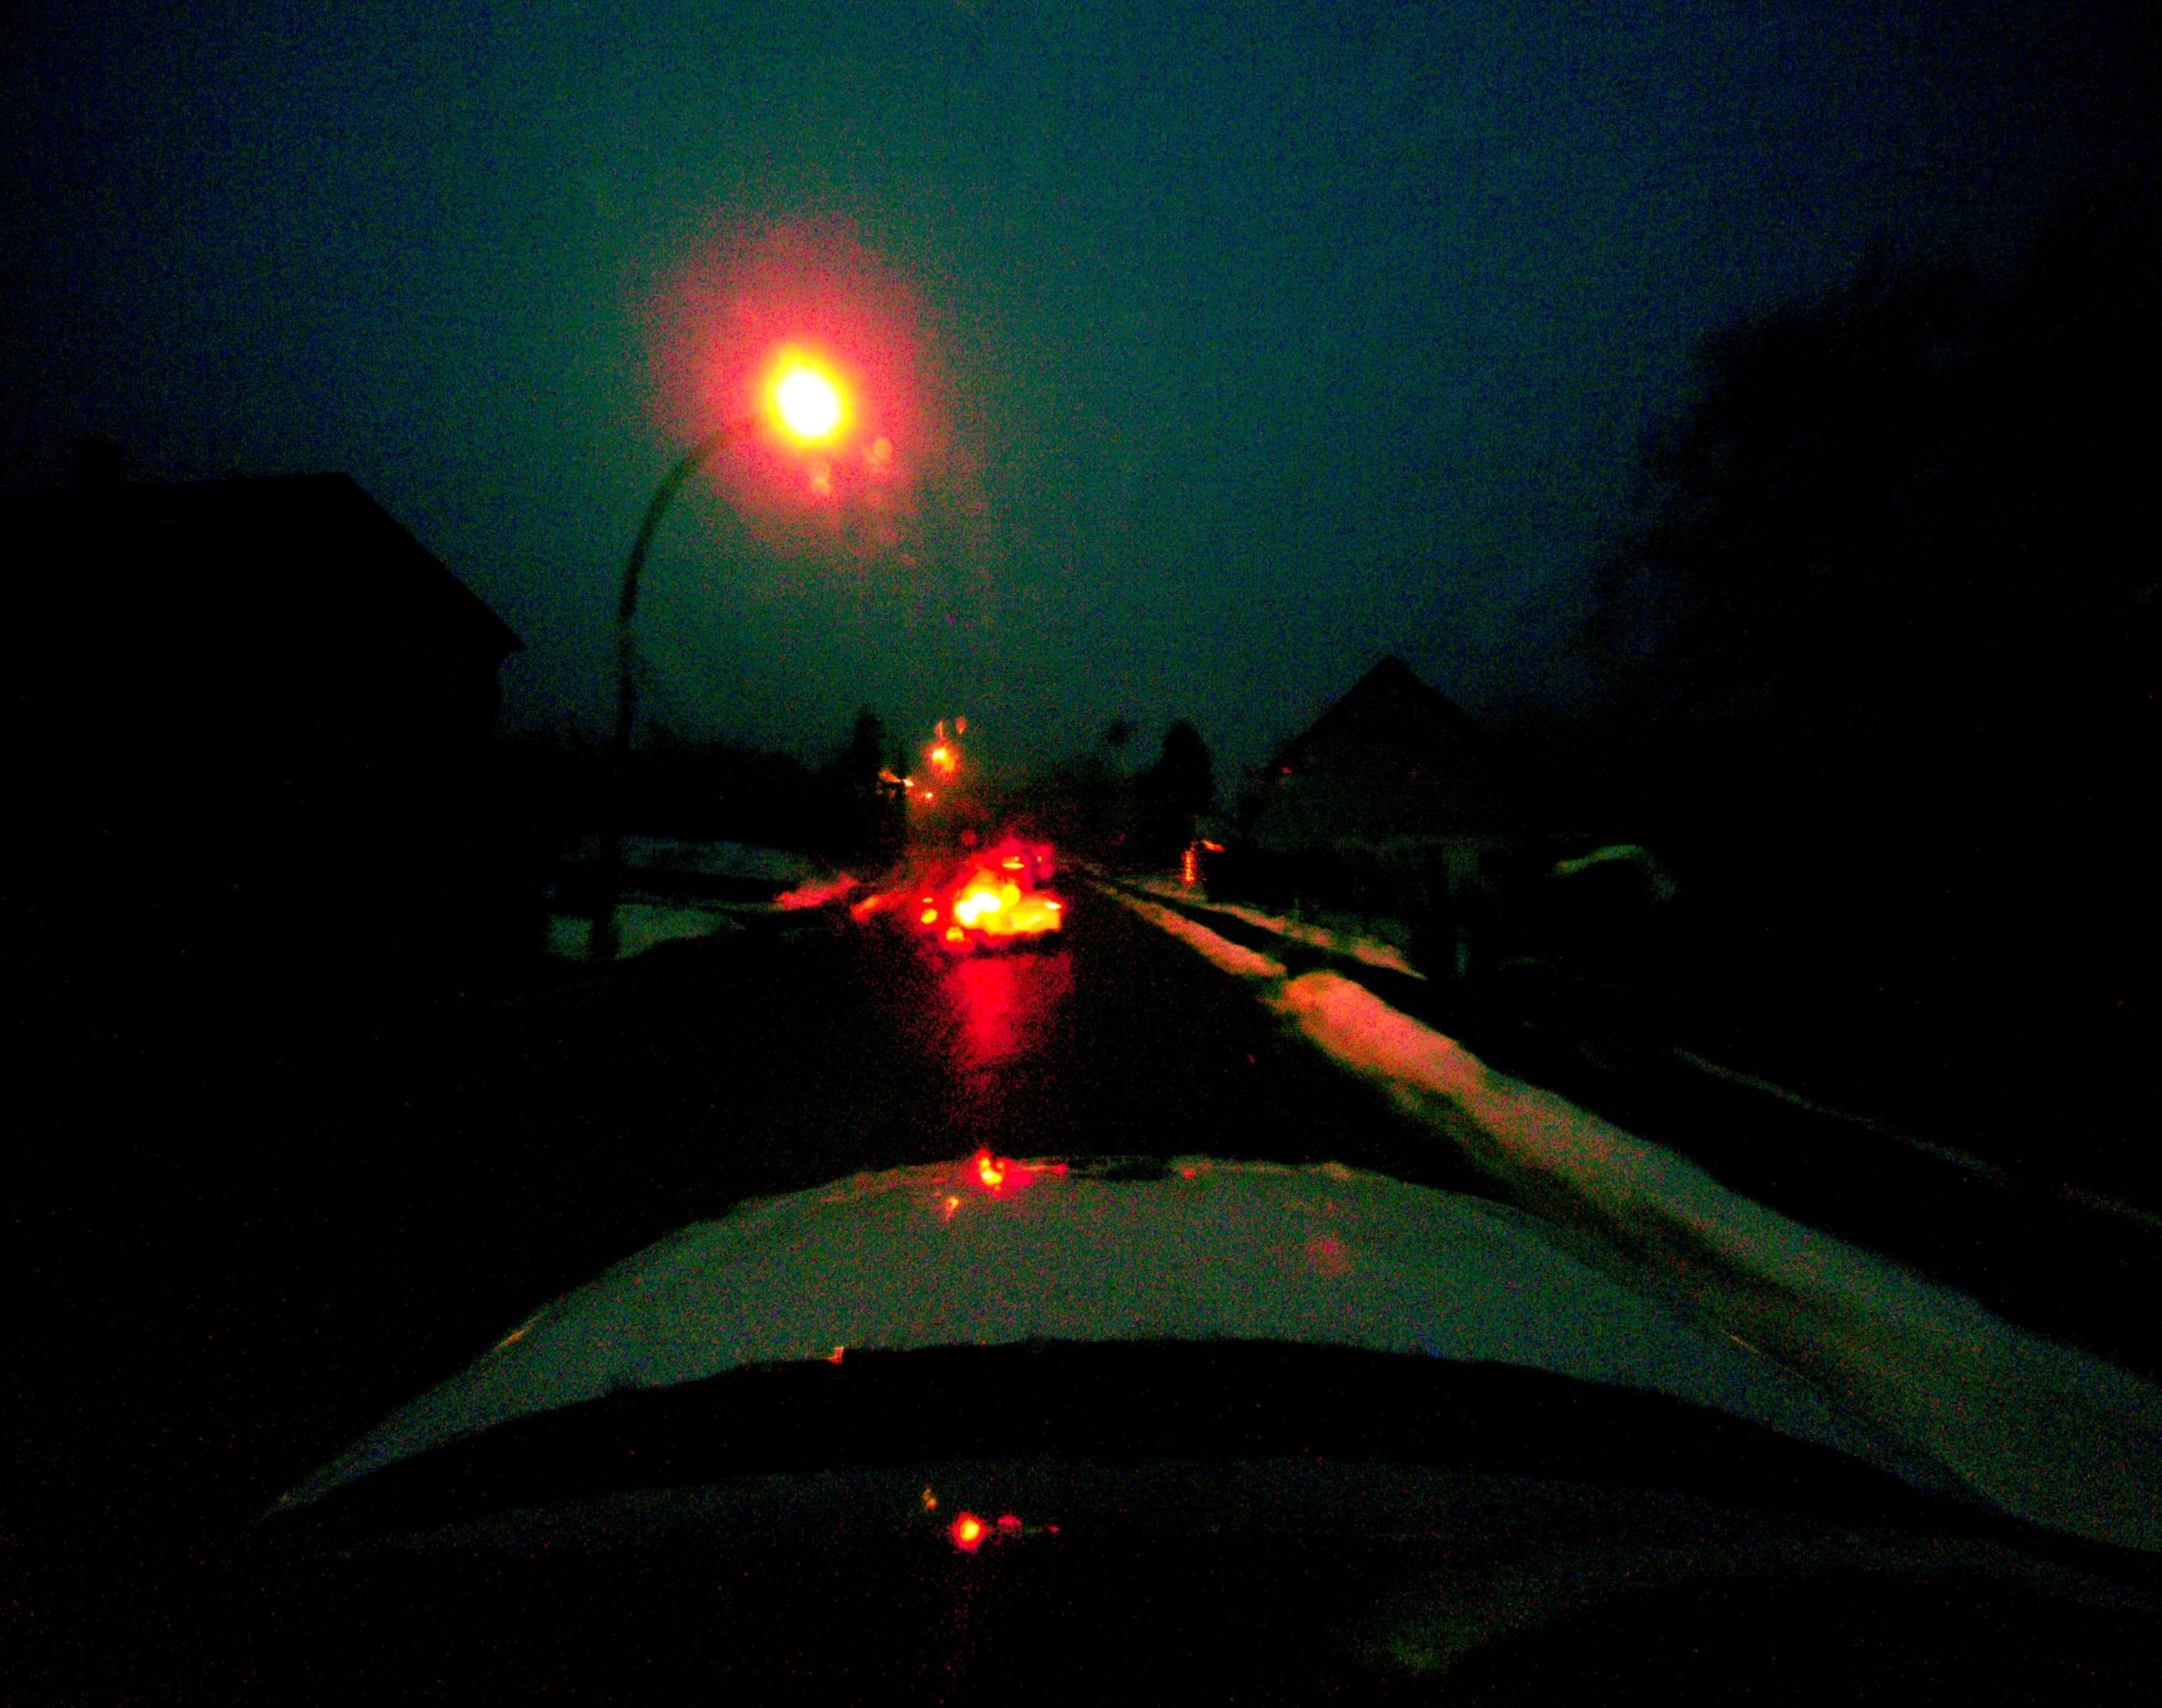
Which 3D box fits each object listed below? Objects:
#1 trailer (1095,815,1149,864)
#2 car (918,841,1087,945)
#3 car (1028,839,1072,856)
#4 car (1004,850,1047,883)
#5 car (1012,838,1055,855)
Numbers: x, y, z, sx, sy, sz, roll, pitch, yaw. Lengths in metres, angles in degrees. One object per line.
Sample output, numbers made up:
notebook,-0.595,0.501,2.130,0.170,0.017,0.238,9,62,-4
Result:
trailer,3.070,-1.066,62.253,2.877,3.560,5.041,1,0,-12
car,-1.572,0.616,14.724,1.906,1.609,3.968,0,-1,-24
car,-2.979,-0.582,79.402,4.233,1.559,1.998,0,-2,-3
car,-3.064,0.702,44.181,1.993,1.737,3.866,0,-2,-9
car,-4.793,-0.746,82.106,4.155,1.559,1.940,0,-2,-8
